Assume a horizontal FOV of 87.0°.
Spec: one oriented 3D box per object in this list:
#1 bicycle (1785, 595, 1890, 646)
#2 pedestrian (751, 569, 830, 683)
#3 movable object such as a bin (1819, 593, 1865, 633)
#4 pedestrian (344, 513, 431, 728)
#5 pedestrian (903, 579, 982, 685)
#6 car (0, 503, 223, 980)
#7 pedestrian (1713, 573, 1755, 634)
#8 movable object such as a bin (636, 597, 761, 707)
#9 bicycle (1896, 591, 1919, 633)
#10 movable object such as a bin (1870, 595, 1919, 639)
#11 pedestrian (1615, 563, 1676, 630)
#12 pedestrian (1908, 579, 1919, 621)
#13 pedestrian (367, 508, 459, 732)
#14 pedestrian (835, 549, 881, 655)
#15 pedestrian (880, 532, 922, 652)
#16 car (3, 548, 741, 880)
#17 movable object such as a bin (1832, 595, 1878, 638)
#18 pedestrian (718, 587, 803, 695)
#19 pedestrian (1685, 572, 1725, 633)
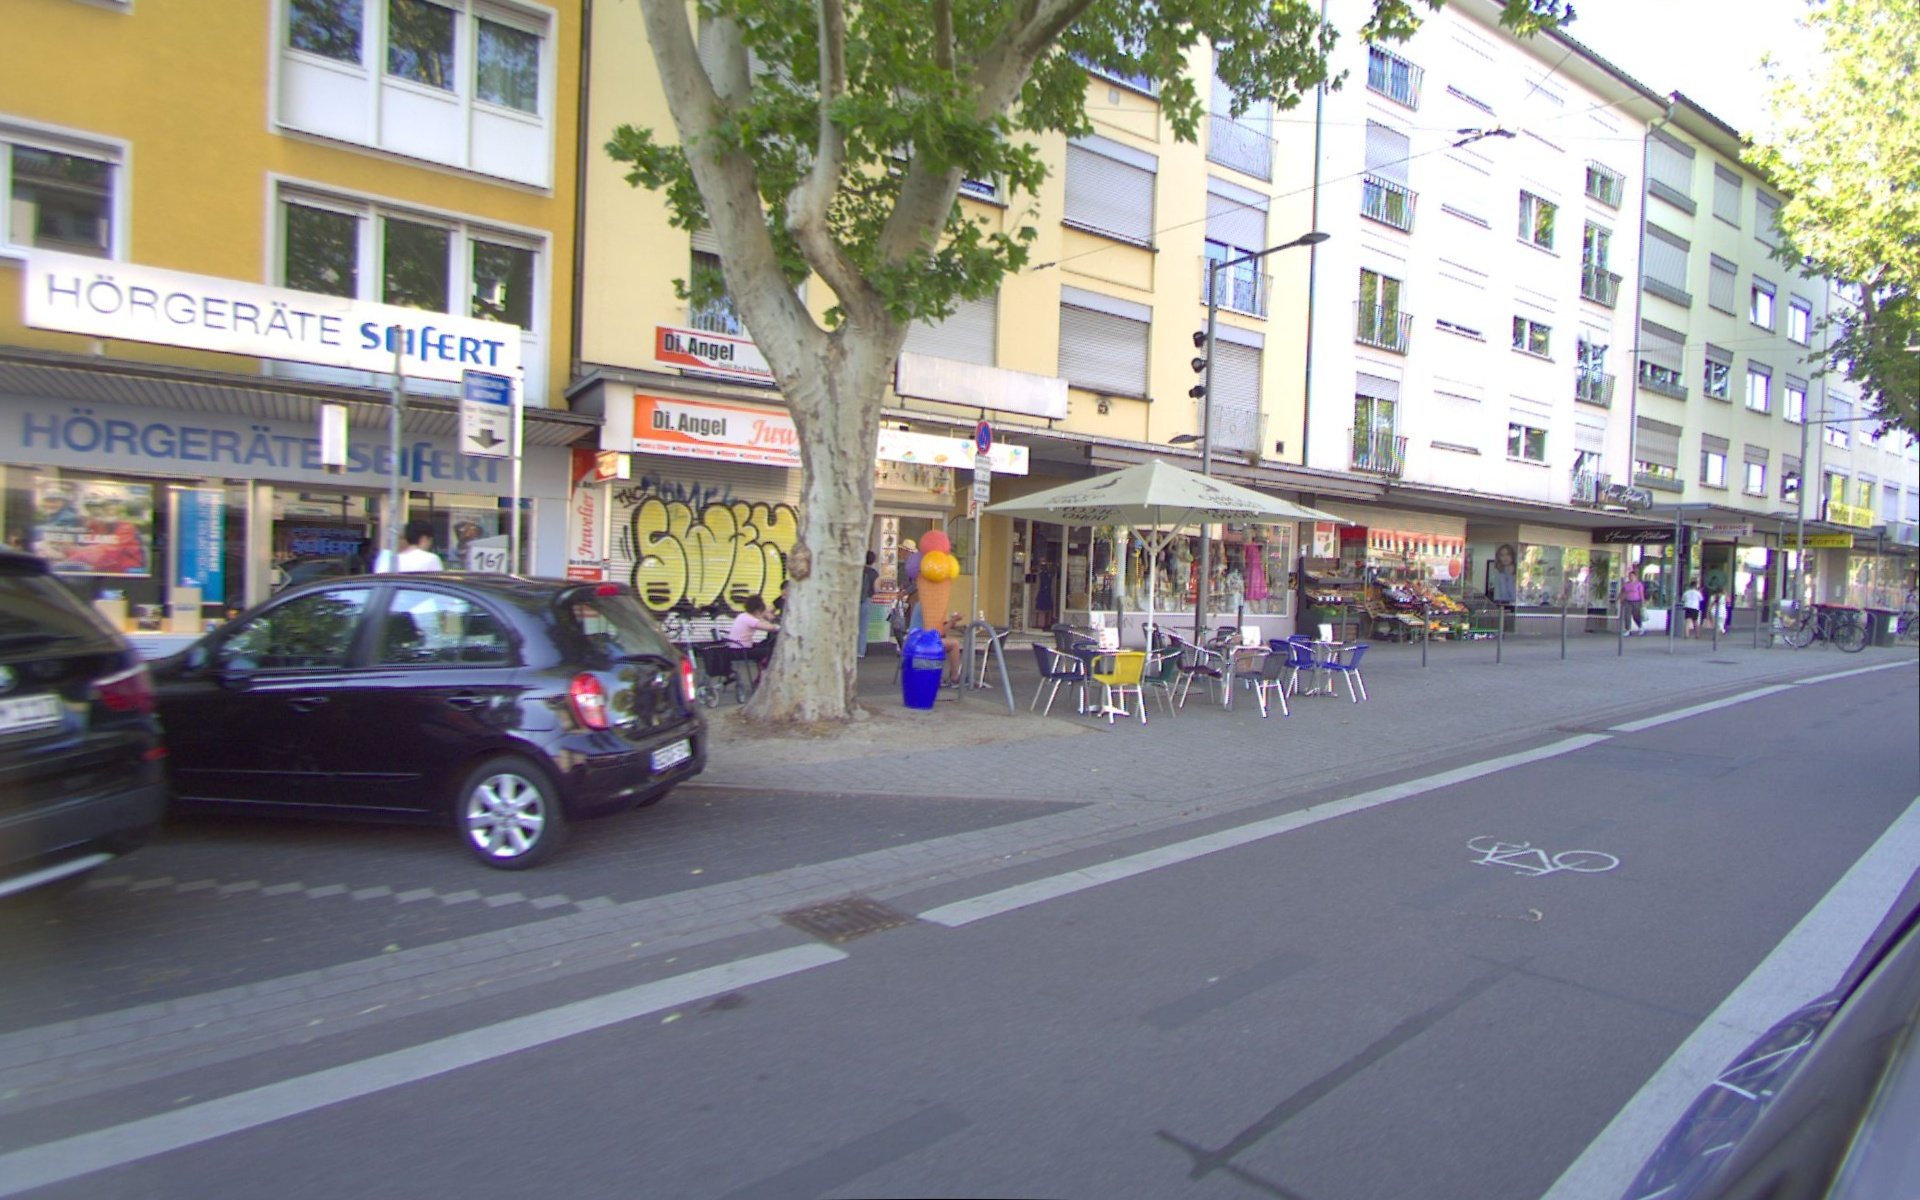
[{"bbox_3d":[22.350,0.503,25.821,0.507,1.118,1.918,1,4,-27],"label":"bicycle"},{"bbox_3d":[-2.012,0.293,12.014,0.745,1.291,0.584,0,0,-40],"label":"pedestrian"},{"bbox_3d":[25.500,0.369,29.276,0.630,1.085,0.726,1,3,-15],"label":"movable object such as a bin"},{"bbox_3d":[-5.105,0.164,9.026,0.512,1.855,0.470,2,2,28],"label":"pedestrian"},{"bbox_3d":[-0.215,0.368,12.322,0.732,1.240,0.607,0,1,-40],"label":"pedestrian"},{"bbox_3d":[-5.429,0.457,3.956,4.083,1.701,1.805,1,2,10],"label":"car"},{"bbox_3d":[20.866,0.089,27.283,0.615,1.605,0.638,0,4,-35],"label":"pedestrian"},{"bbox_3d":[-2.603,0.488,10.137,0.917,1.036,0.835,0,0,18],"label":"movable object such as a bin"},{"bbox_3d":[27.875,0.364,28.767,0.731,1.130,1.725,-4,4,-32],"label":"bicycle"},{"bbox_3d":[25.704,0.461,27.839,0.631,1.115,0.726,0,6,-27],"label":"movable object such as a bin"},{"bbox_3d":[18.982,-0.117,28.030,1.111,1.784,0.972,-1,3,-33],"label":"pedestrian"},{"bbox_3d":[35.739,0.006,37.543,0.878,1.520,0.543,1,3,-33],"label":"pedestrian"},{"bbox_3d":[-4.699,0.155,8.699,0.511,1.855,0.472,2,1,21],"label":"pedestrian"},{"bbox_3d":[-1.561,0.019,15.450,0.624,1.564,0.628,1,5,-9],"label":"pedestrian"},{"bbox_3d":[-0.928,-0.130,15.788,0.614,1.826,0.638,1,1,-4],"label":"pedestrian"},{"bbox_3d":[-3.324,0.511,6.067,3.549,1.559,1.738,1,2,9],"label":"car"},{"bbox_3d":[25.155,0.450,28.438,0.632,1.084,0.725,0,8,-35],"label":"movable object such as a bin"},{"bbox_3d":[-2.184,0.426,11.080,0.737,1.129,0.584,0,0,-40],"label":"pedestrian"},{"bbox_3d":[20.466,0.064,27.818,0.615,1.605,0.624,0,4,-35],"label":"pedestrian"}]
